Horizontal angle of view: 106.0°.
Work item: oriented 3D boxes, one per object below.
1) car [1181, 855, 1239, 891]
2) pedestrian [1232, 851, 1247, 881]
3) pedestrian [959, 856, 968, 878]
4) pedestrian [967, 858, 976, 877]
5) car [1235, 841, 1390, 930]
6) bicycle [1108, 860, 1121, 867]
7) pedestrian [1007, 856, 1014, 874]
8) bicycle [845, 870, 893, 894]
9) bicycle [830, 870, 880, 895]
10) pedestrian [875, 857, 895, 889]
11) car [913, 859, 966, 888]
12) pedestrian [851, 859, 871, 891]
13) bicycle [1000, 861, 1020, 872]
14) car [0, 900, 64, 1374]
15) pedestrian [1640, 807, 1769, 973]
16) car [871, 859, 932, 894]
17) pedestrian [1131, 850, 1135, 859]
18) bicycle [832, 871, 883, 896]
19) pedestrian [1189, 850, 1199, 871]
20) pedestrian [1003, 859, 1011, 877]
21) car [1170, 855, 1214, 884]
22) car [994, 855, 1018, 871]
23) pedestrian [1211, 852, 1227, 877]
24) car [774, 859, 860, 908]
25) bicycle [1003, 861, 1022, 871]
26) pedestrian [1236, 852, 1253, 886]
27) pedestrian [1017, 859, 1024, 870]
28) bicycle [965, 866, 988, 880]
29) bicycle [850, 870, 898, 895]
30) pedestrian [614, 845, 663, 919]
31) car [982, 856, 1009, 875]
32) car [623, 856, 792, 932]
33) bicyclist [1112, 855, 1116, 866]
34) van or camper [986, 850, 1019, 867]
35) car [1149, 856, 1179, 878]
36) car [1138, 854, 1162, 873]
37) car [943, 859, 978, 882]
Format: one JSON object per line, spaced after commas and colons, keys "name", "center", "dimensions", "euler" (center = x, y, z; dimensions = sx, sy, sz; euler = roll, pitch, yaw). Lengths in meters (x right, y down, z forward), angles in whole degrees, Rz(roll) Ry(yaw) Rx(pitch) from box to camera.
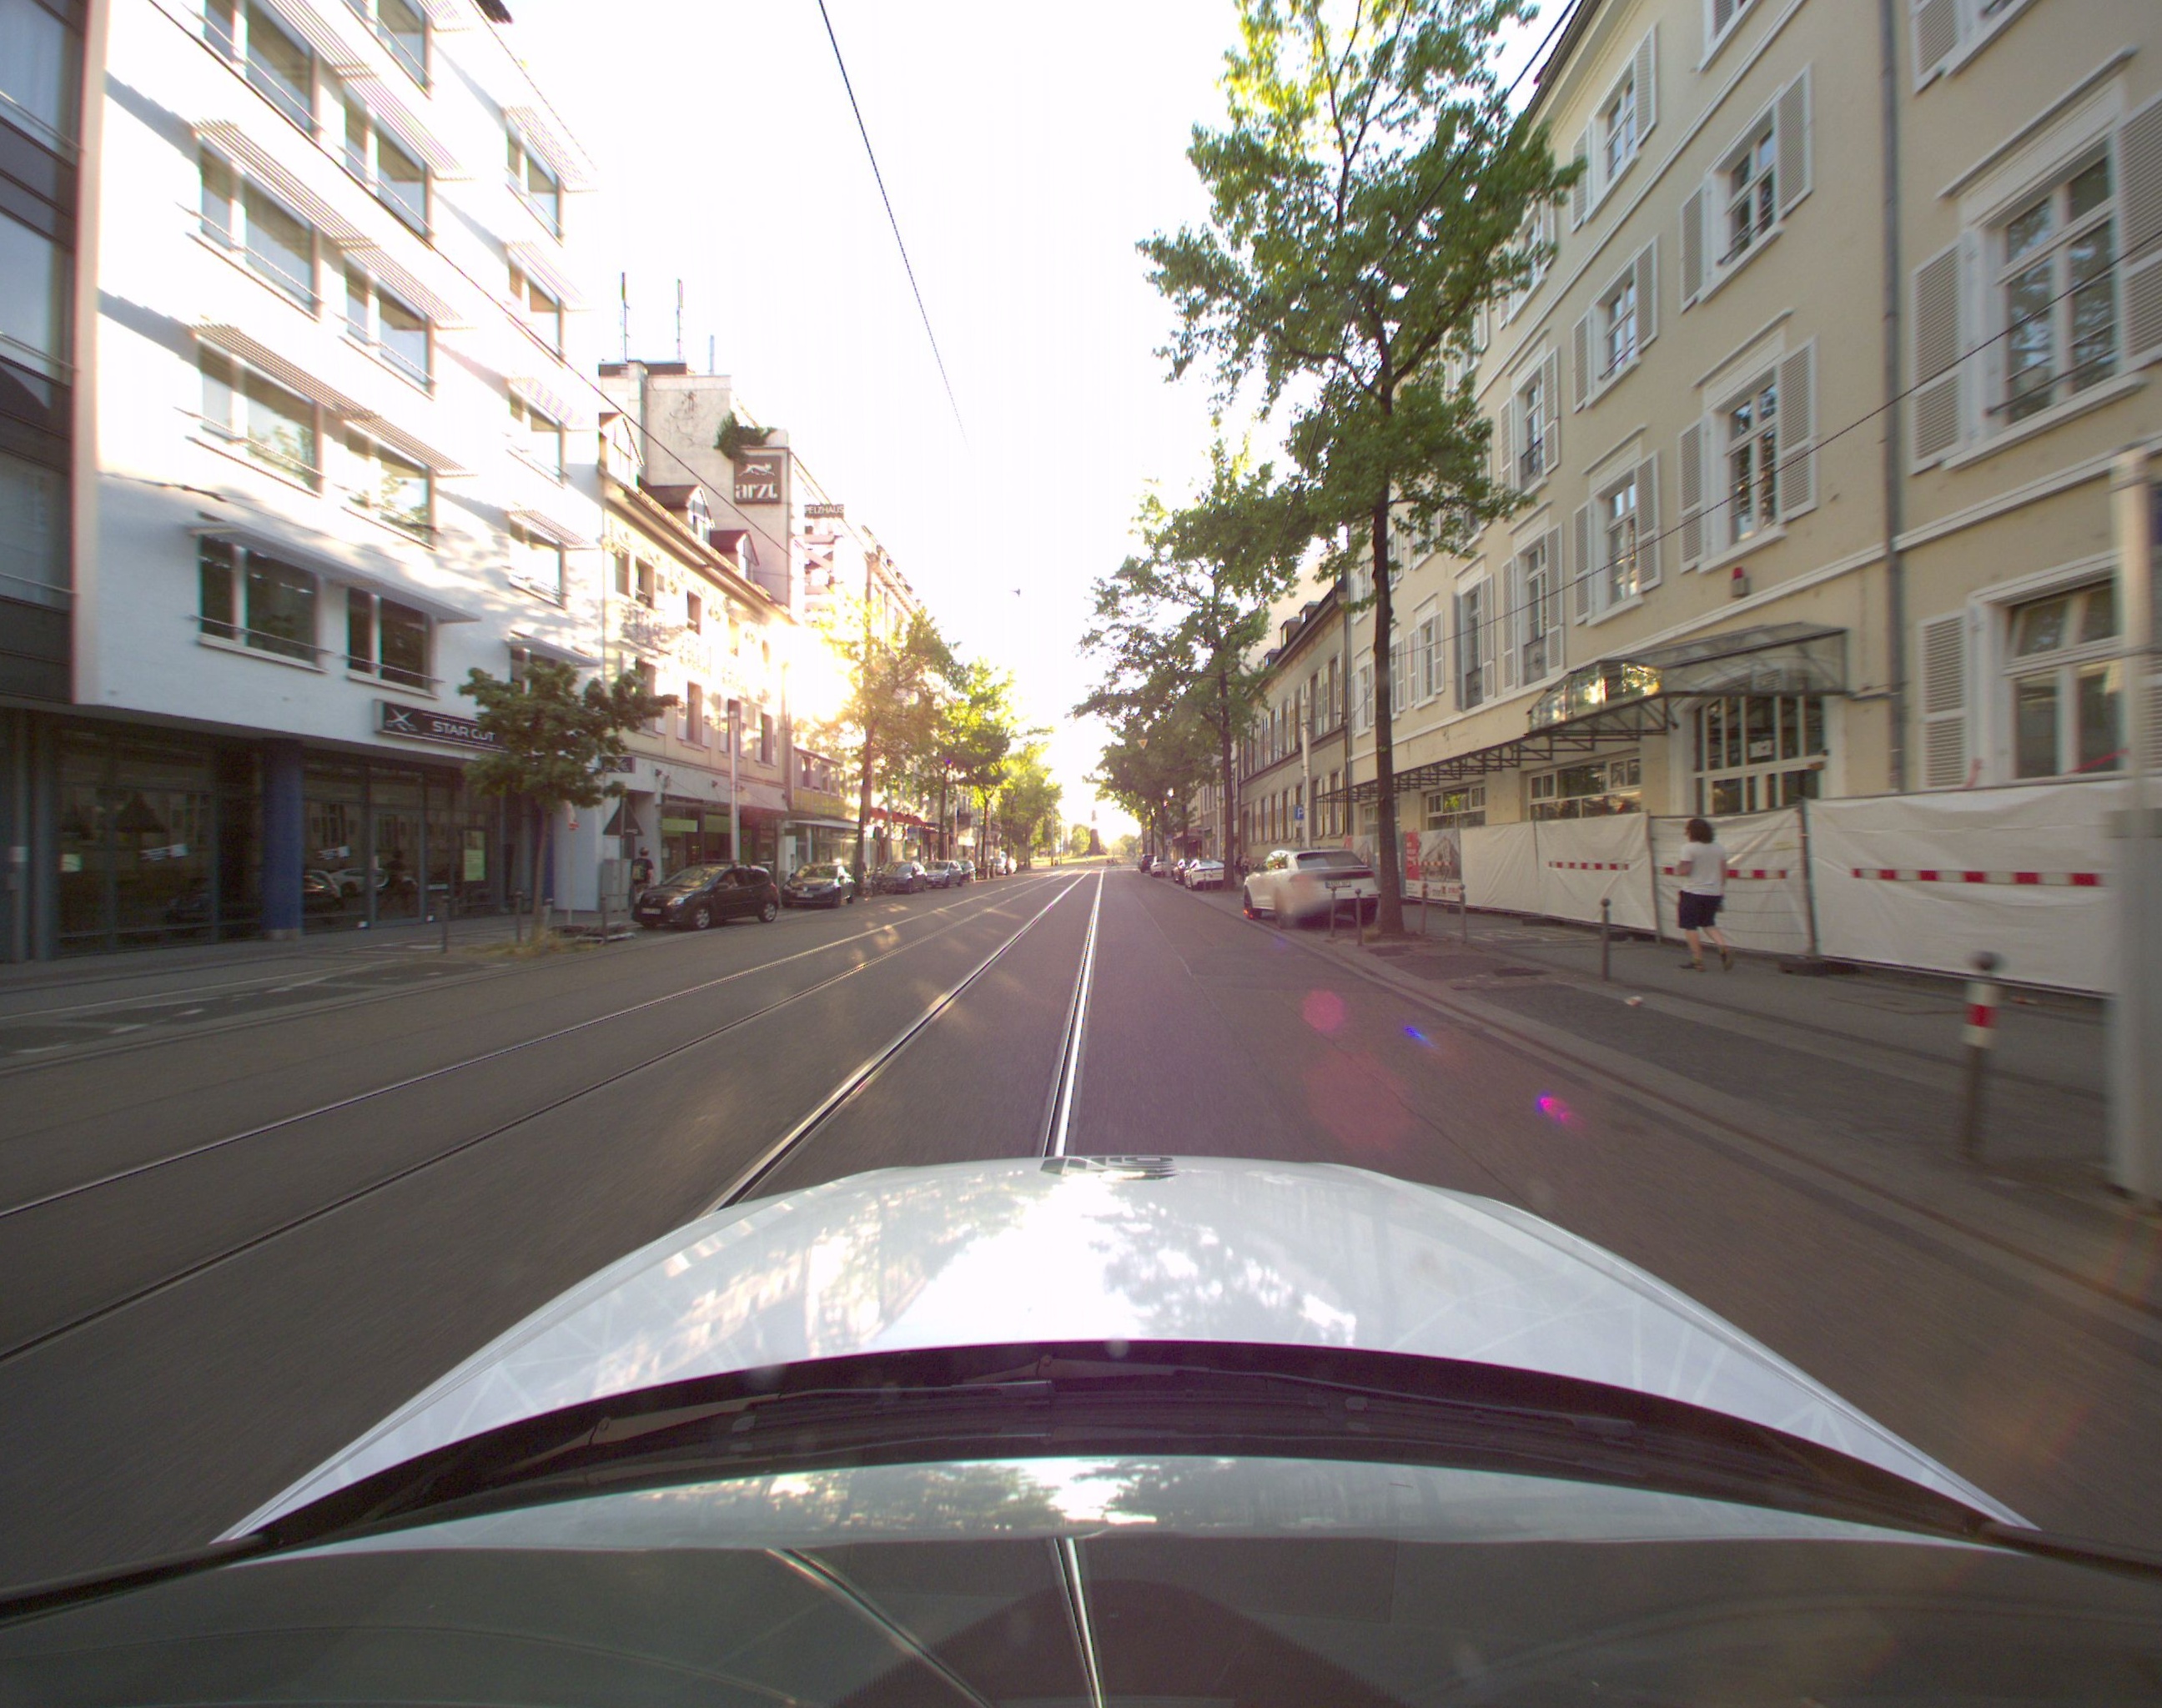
{"name": "car", "center": [5.754, 0.821, 36.872], "dimensions": [1.905, 1.420, 4.890], "euler": [-3, 0, 2]}
{"name": "pedestrian", "center": [9.255, 0.706, 47.639], "dimensions": [0.655, 1.665, 0.888], "euler": [-3, -1, 1]}
{"name": "pedestrian", "center": [-10.918, 1.238, 75.467], "dimensions": [0.719, 2.014, 0.643], "euler": [-1, 0, 1]}
{"name": "pedestrian", "center": [-10.140, 1.225, 75.449], "dimensions": [0.719, 1.760, 1.090], "euler": [-1, 0, 2]}
{"name": "car", "center": [5.082, 0.655, 18.714], "dimensions": [1.992, 1.688, 4.964], "euler": [-3, -1, -1]}
{"name": "bicycle", "center": [4.531, 1.325, 110.451], "dimensions": [1.725, 0.864, 0.367], "euler": [-1, 0, 1]}
{"name": "pedestrian", "center": [-6.286, 0.974, 72.249], "dimensions": [0.519, 1.569, 0.634], "euler": [-1, -1, 2]}
{"name": "bicycle", "center": [-9.010, 1.204, 34.691], "dimensions": [1.962, 1.001, 0.331], "euler": [-1, -1, 3]}
{"name": "bicycle", "center": [-9.400, 1.191, 33.870], "dimensions": [1.961, 1.001, 0.420], "euler": [-1, -1, 5]}
{"name": "pedestrian", "center": [-10.558, 1.030, 43.949], "dimensions": [0.841, 1.693, 0.740], "euler": [-1, 0, 0]}
{"name": "car", "center": [-7.642, 1.024, 44.318], "dimensions": [1.758, 1.497, 4.182], "euler": [0, -1, 6]}
{"name": "pedestrian", "center": [-11.776, 1.132, 43.601], "dimensions": [0.786, 1.693, 0.914], "euler": [-1, 0, 1]}
{"name": "bicycle", "center": [-7.766, 1.341, 88.775], "dimensions": [2.117, 1.105, 0.497], "euler": [2, -1, -24]}
{"name": "car", "center": [-4.203, 0.859, 0.343], "dimensions": [1.772, 1.407, 4.530], "euler": [-1, 0, 2]}
{"name": "pedestrian", "center": [7.551, 0.413, 9.922], "dimensions": [0.710, 1.886, 1.053], "euler": [-2, 0, 1]}
{"name": "car", "center": [-8.249, 1.004, 37.840], "dimensions": [1.705, 1.461, 4.488], "euler": [1, 0, 2]}
{"name": "pedestrian", "center": [9.321, 0.159, 145.248], "dimensions": [0.634, 1.606, 0.771], "euler": [-1, 0, -1]}
{"name": "bicycle", "center": [-8.953, 1.182, 32.609], "dimensions": [1.962, 1.001, 0.331], "euler": [-1, -1, 3]}
{"name": "pedestrian", "center": [9.240, 0.544, 66.779], "dimensions": [0.641, 1.670, 0.786], "euler": [-4, 0, 1]}
{"name": "pedestrian", "center": [-6.513, 1.242, 71.490], "dimensions": [0.617, 1.509, 0.730], "euler": [-1, -1, 2]}
{"name": "car", "center": [6.180, 0.838, 45.696], "dimensions": [1.826, 1.478, 4.762], "euler": [-3, 0, 1]}
{"name": "car", "center": [-7.337, 0.873, 80.070], "dimensions": [1.829, 1.580, 4.704], "euler": [-1, 0, 2]}
{"name": "pedestrian", "center": [9.845, 0.730, 58.051], "dimensions": [0.855, 1.753, 0.933], "euler": [-4, 0, 1]}
{"name": "car", "center": [-8.904, 0.944, 27.808], "dimensions": [1.788, 1.490, 4.235], "euler": [1, 0, -4]}
{"name": "bicycle", "center": [-7.700, 1.382, 91.466], "dimensions": [2.014, 1.105, 0.501], "euler": [1, -1, 4]}
{"name": "pedestrian", "center": [7.728, 0.707, 38.473], "dimensions": [0.646, 1.573, 0.799], "euler": [-1, 0, 1]}
{"name": "pedestrian", "center": [-7.240, 1.302, 97.755], "dimensions": [0.726, 1.290, 0.856], "euler": [0, 0, -1]}
{"name": "bicycle", "center": [-7.565, 1.370, 59.081], "dimensions": [1.607, 0.965, 0.433], "euler": [1, 0, 6]}
{"name": "bicycle", "center": [-8.722, 1.200, 34.299], "dimensions": [1.962, 1.001, 0.331], "euler": [-1, -1, 3]}
{"name": "pedestrian", "center": [-11.260, 0.705, 20.742], "dimensions": [0.657, 1.825, 0.879], "euler": [2, 0, 2]}
{"name": "car", "center": [-7.782, 1.062, 74.488], "dimensions": [1.829, 1.580, 4.118], "euler": [3, 0, 2]}
{"name": "car", "center": [-8.882, 0.880, 19.724], "dimensions": [1.618, 1.616, 3.724], "euler": [1, 0, 16]}
{"name": "bicyclist", "center": [4.507, 0.874, 110.464], "dimensions": [0.534, 1.438, 0.367], "euler": [-1, 0, 1]}
{"name": "van or camper", "center": [-12.548, 0.706, 129.642], "dimensions": [2.625, 2.472, 6.255], "euler": [-1, 0, -33]}
{"name": "car", "center": [6.388, 1.007, 63.175], "dimensions": [1.986, 1.498, 4.682], "euler": [-4, 0, 2]}
{"name": "car", "center": [6.788, 0.913, 80.219], "dimensions": [1.931, 1.759, 4.681], "euler": [-4, 0, 1]}
{"name": "car", "center": [-8.026, 1.071, 54.736], "dimensions": [1.660, 1.428, 3.828], "euler": [2, 0, 1]}
